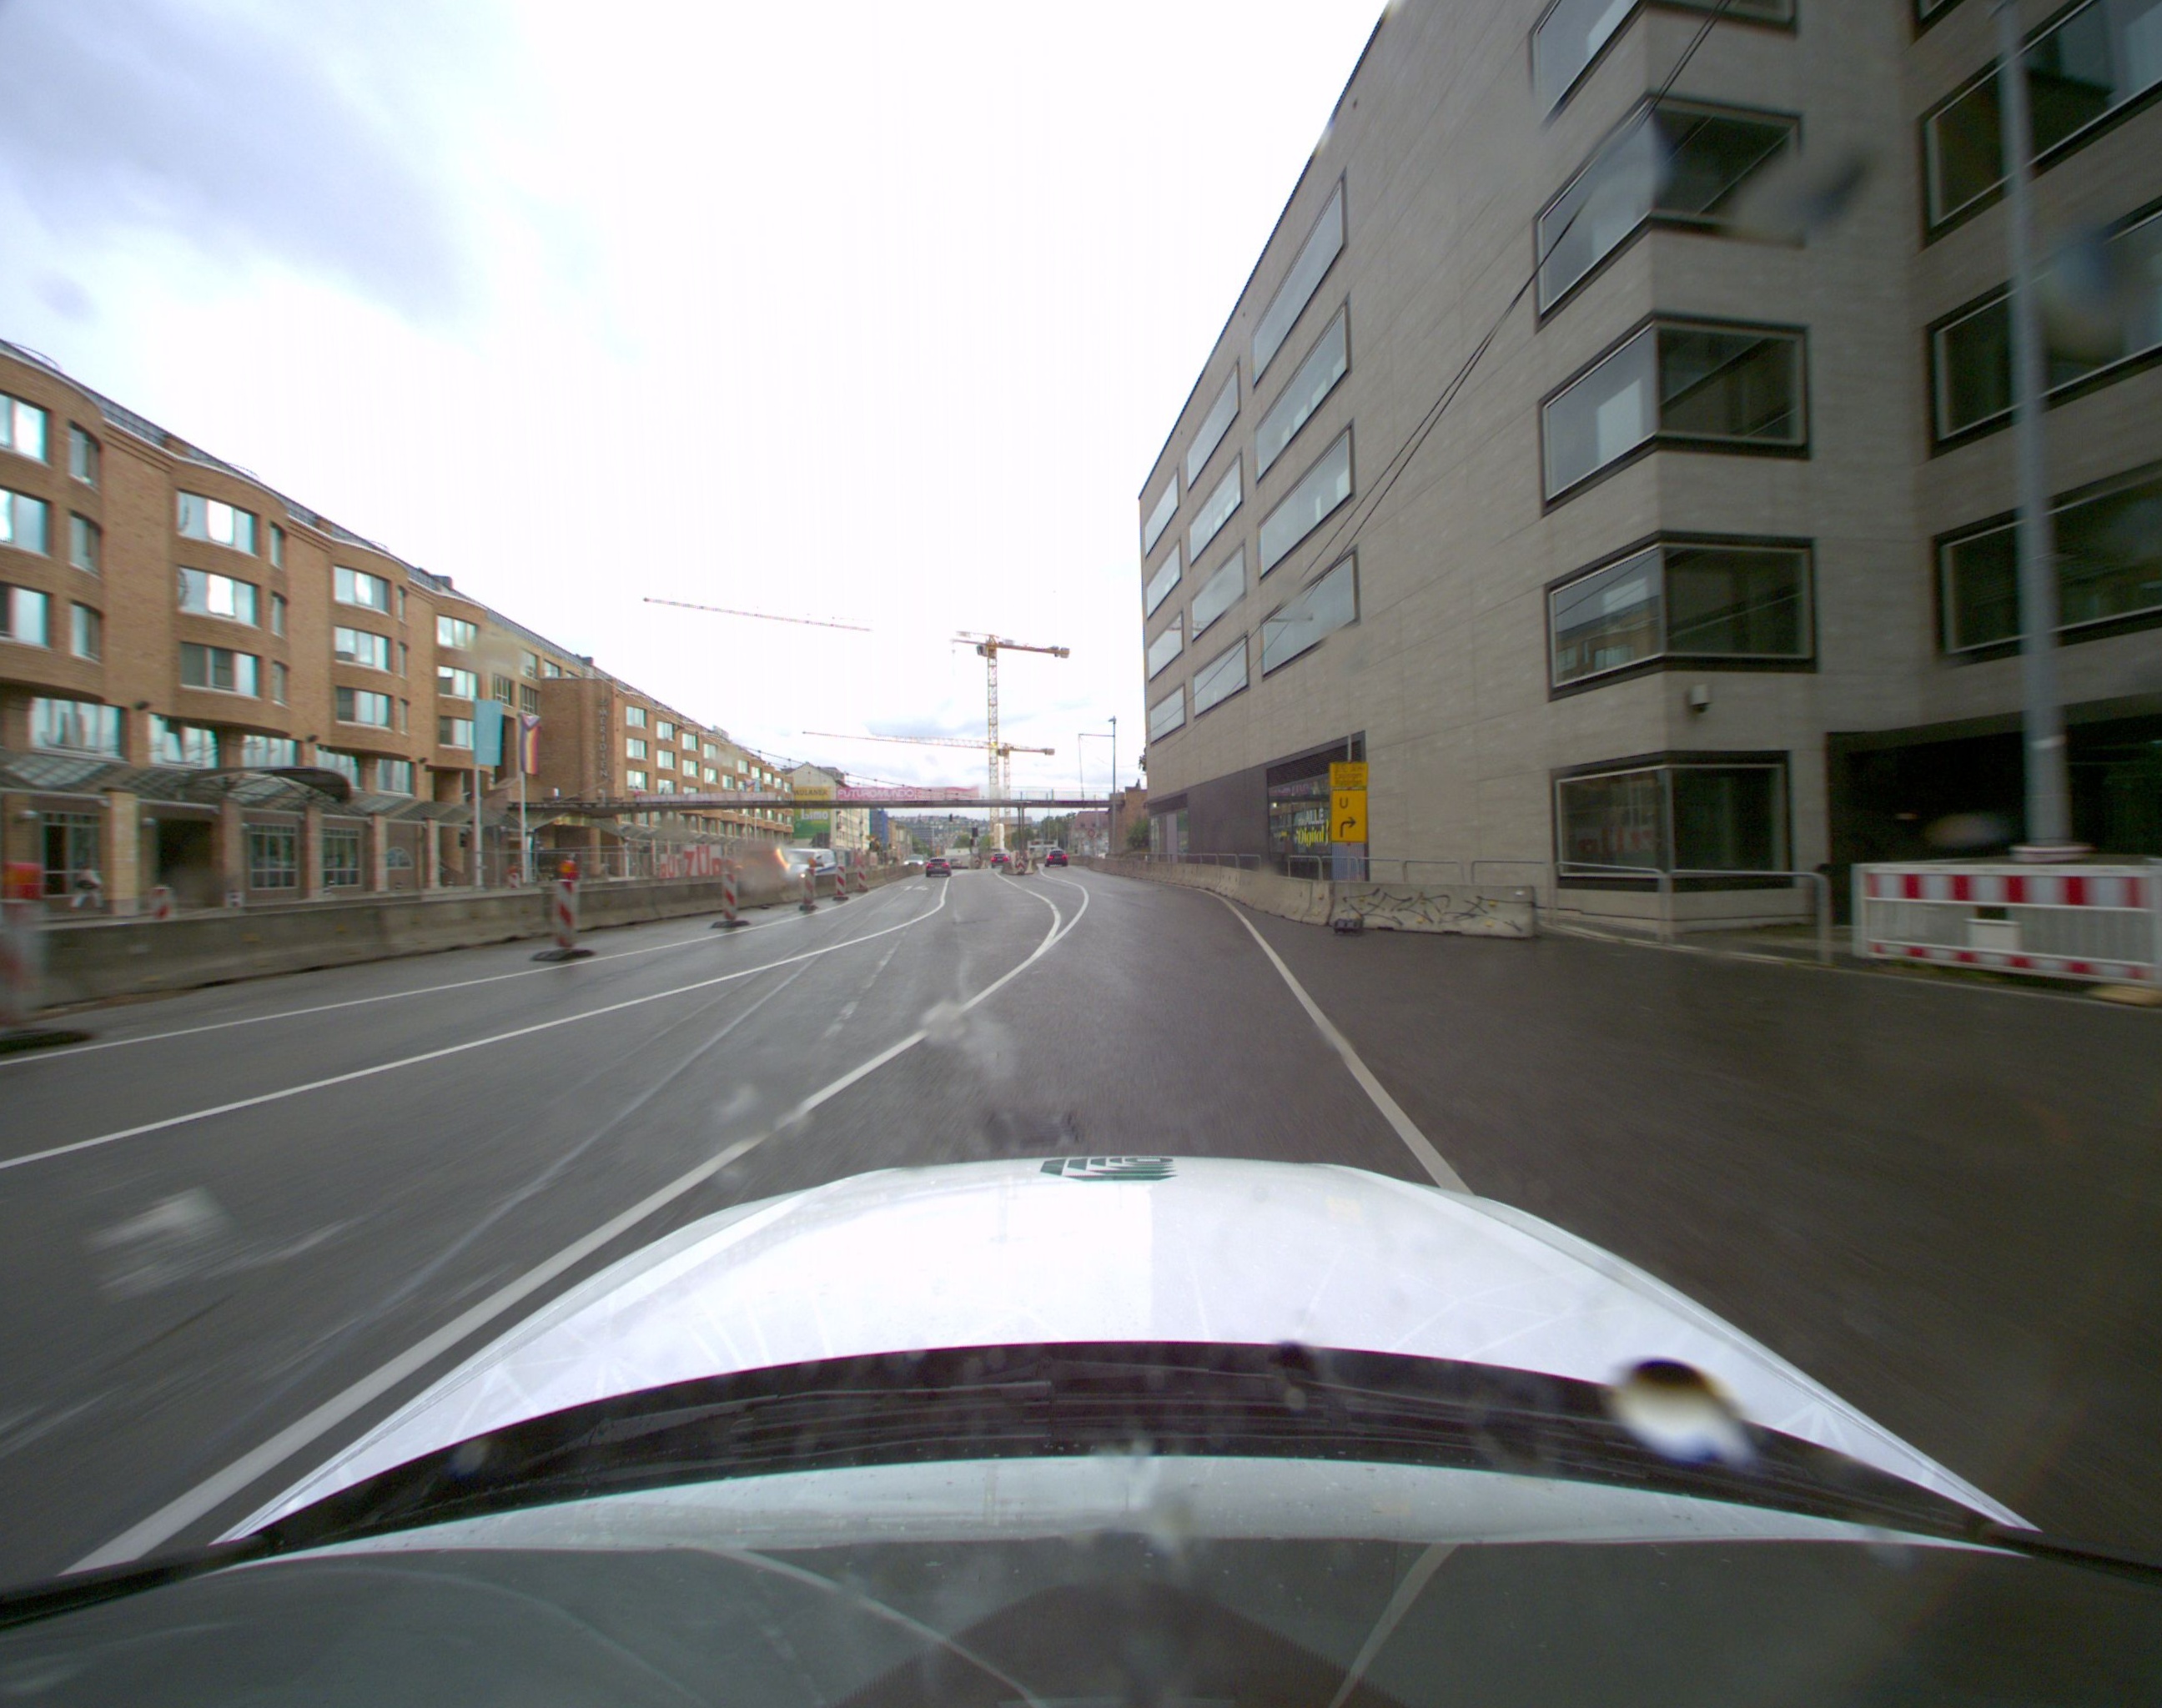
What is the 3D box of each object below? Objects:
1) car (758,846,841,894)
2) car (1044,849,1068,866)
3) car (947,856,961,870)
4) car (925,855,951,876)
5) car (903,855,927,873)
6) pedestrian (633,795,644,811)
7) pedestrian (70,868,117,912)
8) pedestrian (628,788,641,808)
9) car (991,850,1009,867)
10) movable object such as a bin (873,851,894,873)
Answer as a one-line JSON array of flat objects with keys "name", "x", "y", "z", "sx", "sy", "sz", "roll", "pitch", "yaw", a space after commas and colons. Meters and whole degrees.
[{"name": "car", "x": -12.048, "y": 0.637, "z": 35.214, "sx": 1.988, "sy": 1.885, "sz": 4.866, "roll": -1, "pitch": 0, "yaw": -2}, {"name": "car", "x": -2.227, "y": 0.295, "z": 70.649, "sx": 1.860, "sy": 1.433, "sz": 4.648, "roll": -1, "pitch": 0, "yaw": -5}, {"name": "car", "x": -17.055, "y": 1.174, "z": 109.282, "sx": 1.863, "sy": 1.765, "sz": 4.641, "roll": -1, "pitch": 0, "yaw": -9}, {"name": "car", "x": -10.870, "y": 0.836, "z": 61.648, "sx": 1.864, "sy": 1.443, "sz": 4.638, "roll": -1, "pitch": 0, "yaw": -11}, {"name": "car", "x": -17.083, "y": 1.009, "z": 83.950, "sx": 1.992, "sy": 1.623, "sz": 4.691, "roll": -2, "pitch": 1, "yaw": -7}, {"name": "pedestrian", "x": -33.954, "y": -3.926, "z": 62.489, "sx": 0.474, "sy": 1.194, "sz": 0.483, "roll": -3, "pitch": 0, "yaw": -5}, {"name": "pedestrian", "x": -33.431, "y": 1.206, "z": 27.578, "sx": 0.615, "sy": 1.452, "sz": 0.735, "roll": -3, "pitch": 0, "yaw": -6}, {"name": "pedestrian", "x": -34.097, "y": -4.295, "z": 62.139, "sx": 0.619, "sy": 1.452, "sz": 0.617, "roll": -3, "pitch": 0, "yaw": -5}, {"name": "car", "x": -8.690, "y": 0.472, "z": 87.363, "sx": 1.861, "sy": 1.660, "sz": 4.646, "roll": -1, "pitch": 0, "yaw": -6}, {"name": "movable object such as a bin", "x": -22.450, "y": 0.923, "z": 92.702, "sx": 2.028, "sy": 2.277, "sz": 4.276, "roll": -5, "pitch": 1, "yaw": -11}]
